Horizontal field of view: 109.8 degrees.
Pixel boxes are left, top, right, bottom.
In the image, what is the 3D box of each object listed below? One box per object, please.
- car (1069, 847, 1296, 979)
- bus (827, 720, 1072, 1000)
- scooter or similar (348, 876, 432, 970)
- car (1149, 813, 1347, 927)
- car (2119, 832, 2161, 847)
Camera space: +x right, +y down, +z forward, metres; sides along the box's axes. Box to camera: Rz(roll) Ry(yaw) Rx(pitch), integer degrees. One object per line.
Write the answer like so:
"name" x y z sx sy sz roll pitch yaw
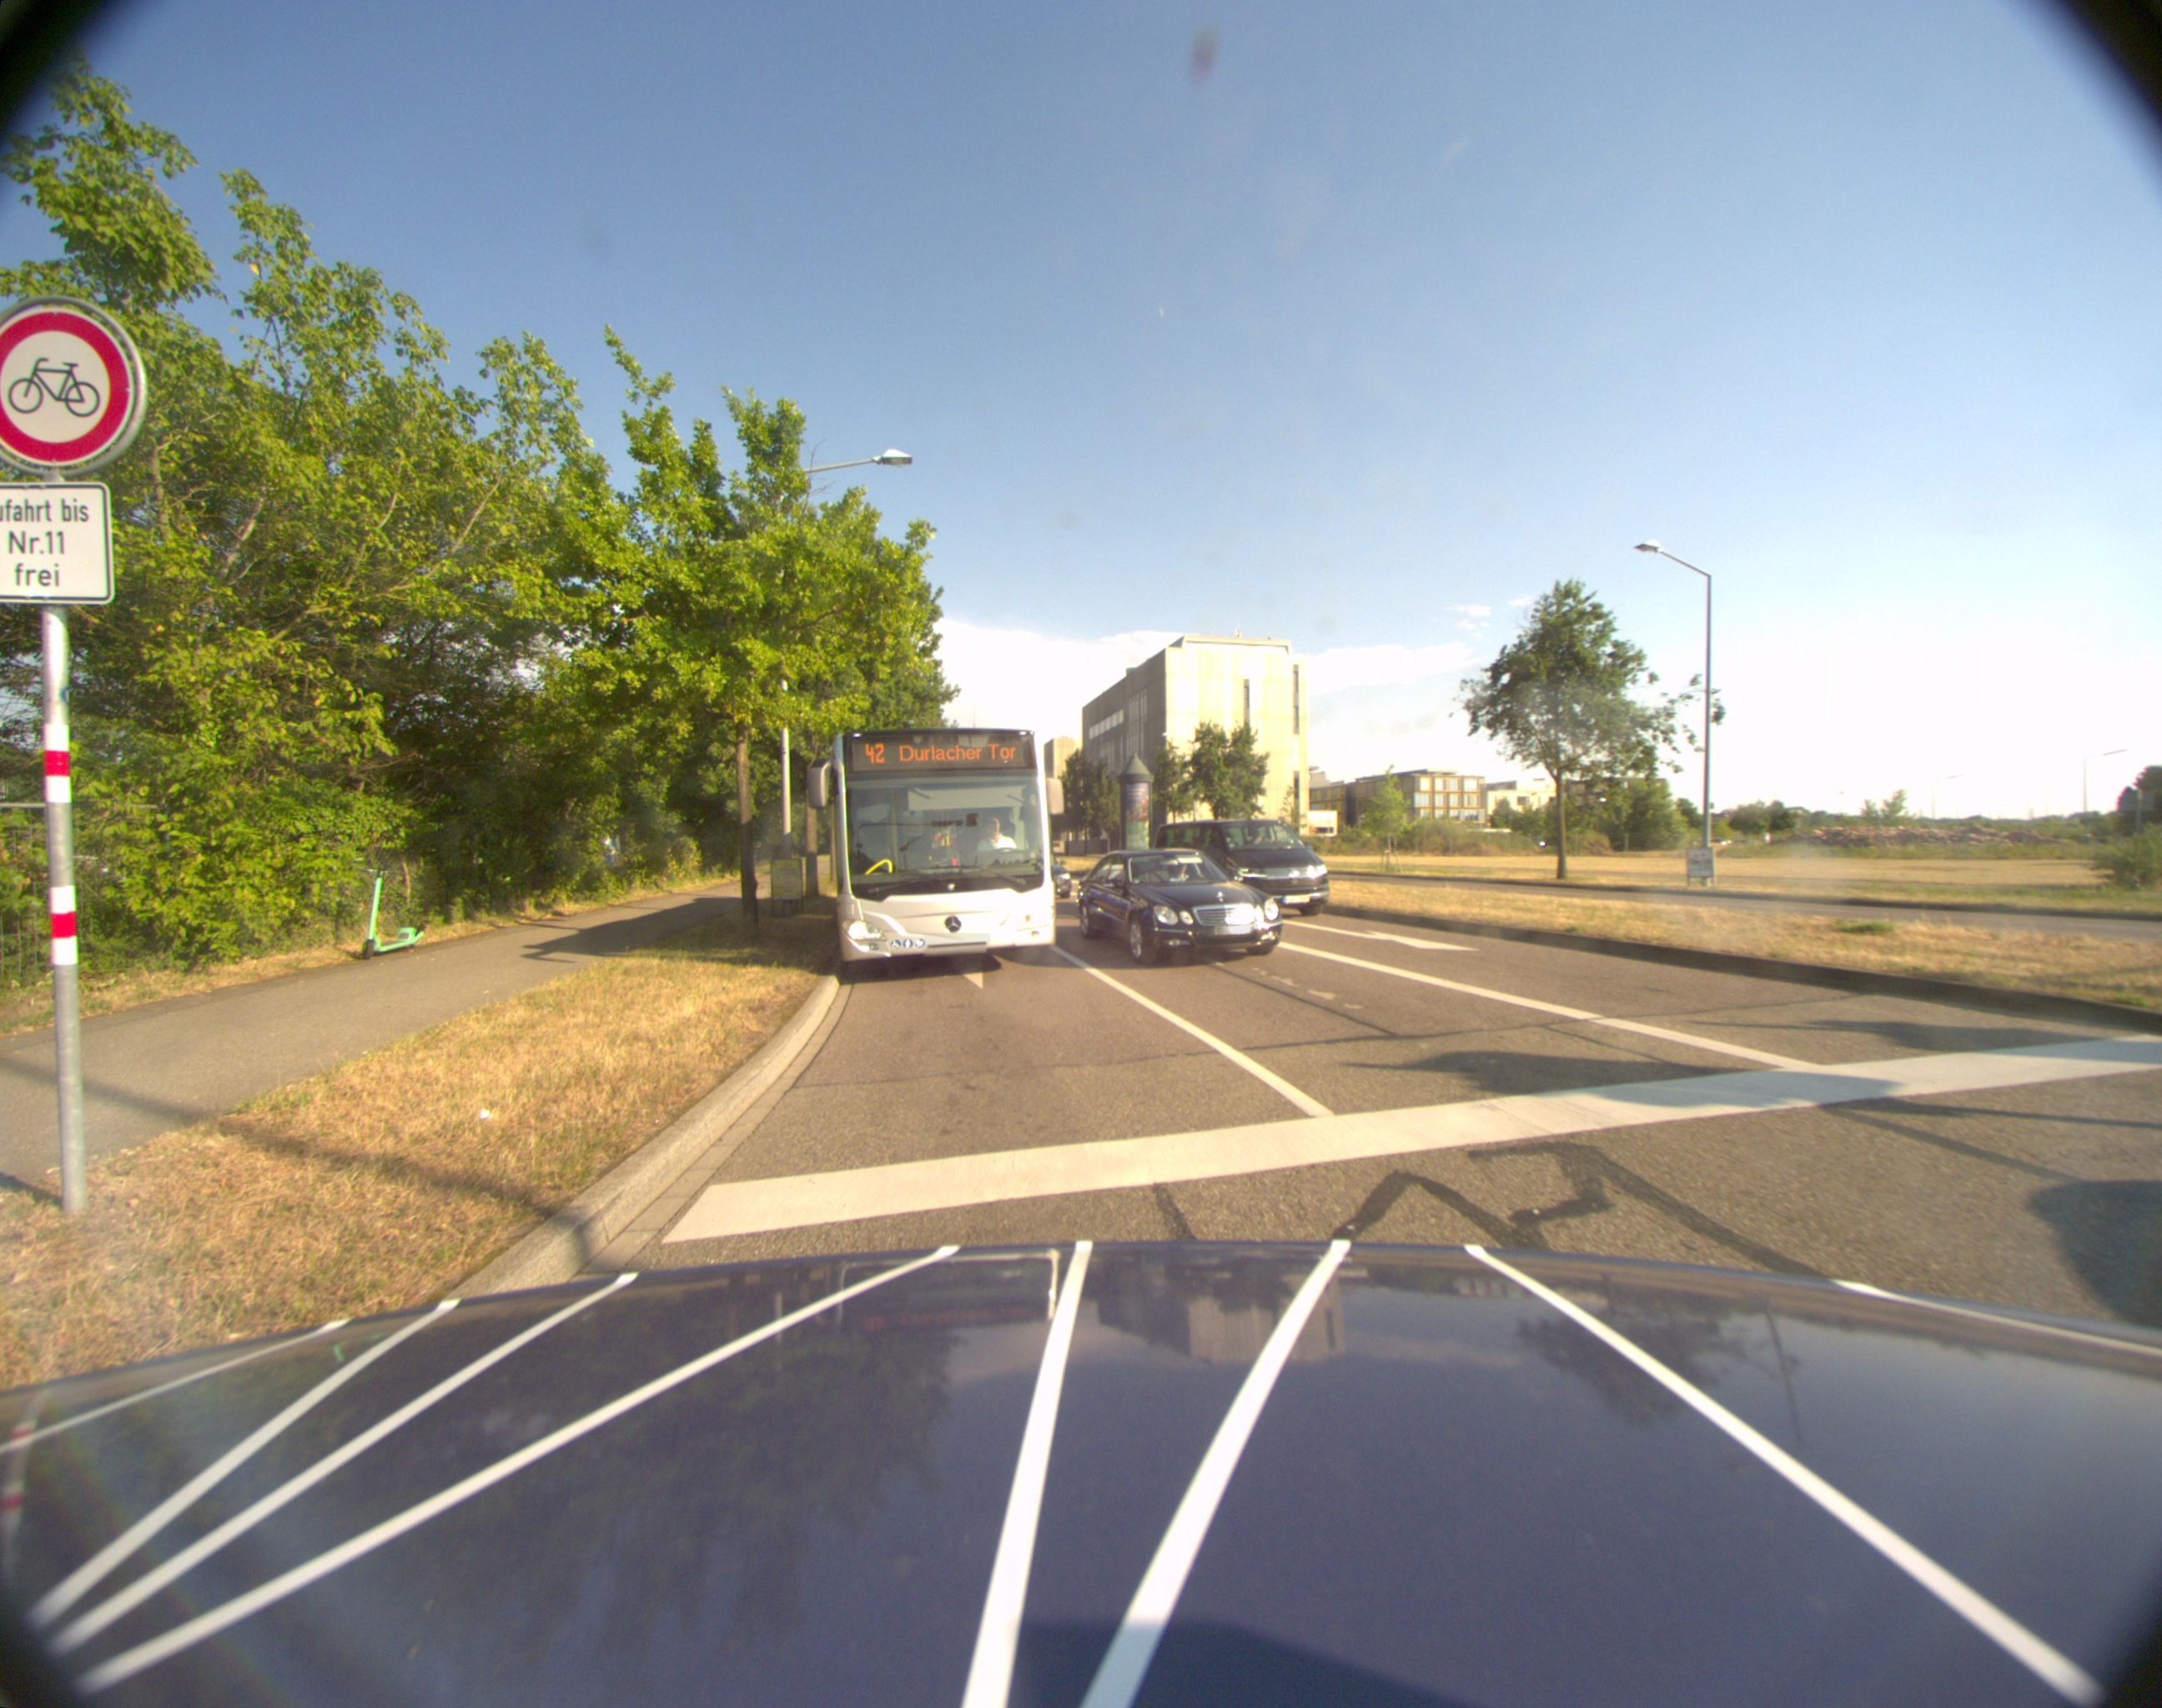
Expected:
"car" 1.173 0.655 11.014 1.812 1.428 4.488 -3 1 -12
"bus" -2.875 -0.021 14.187 2.598 3.025 11.703 -2 1 -14
"scooter or similar" -9.030 0.877 9.967 0.249 1.120 1.094 2 1 -10
"car" 3.178 0.227 15.695 1.863 1.921 5.006 -3 2 -15
"car" 92.878 -1.289 66.474 1.333 1.284 2.809 0 1 29
